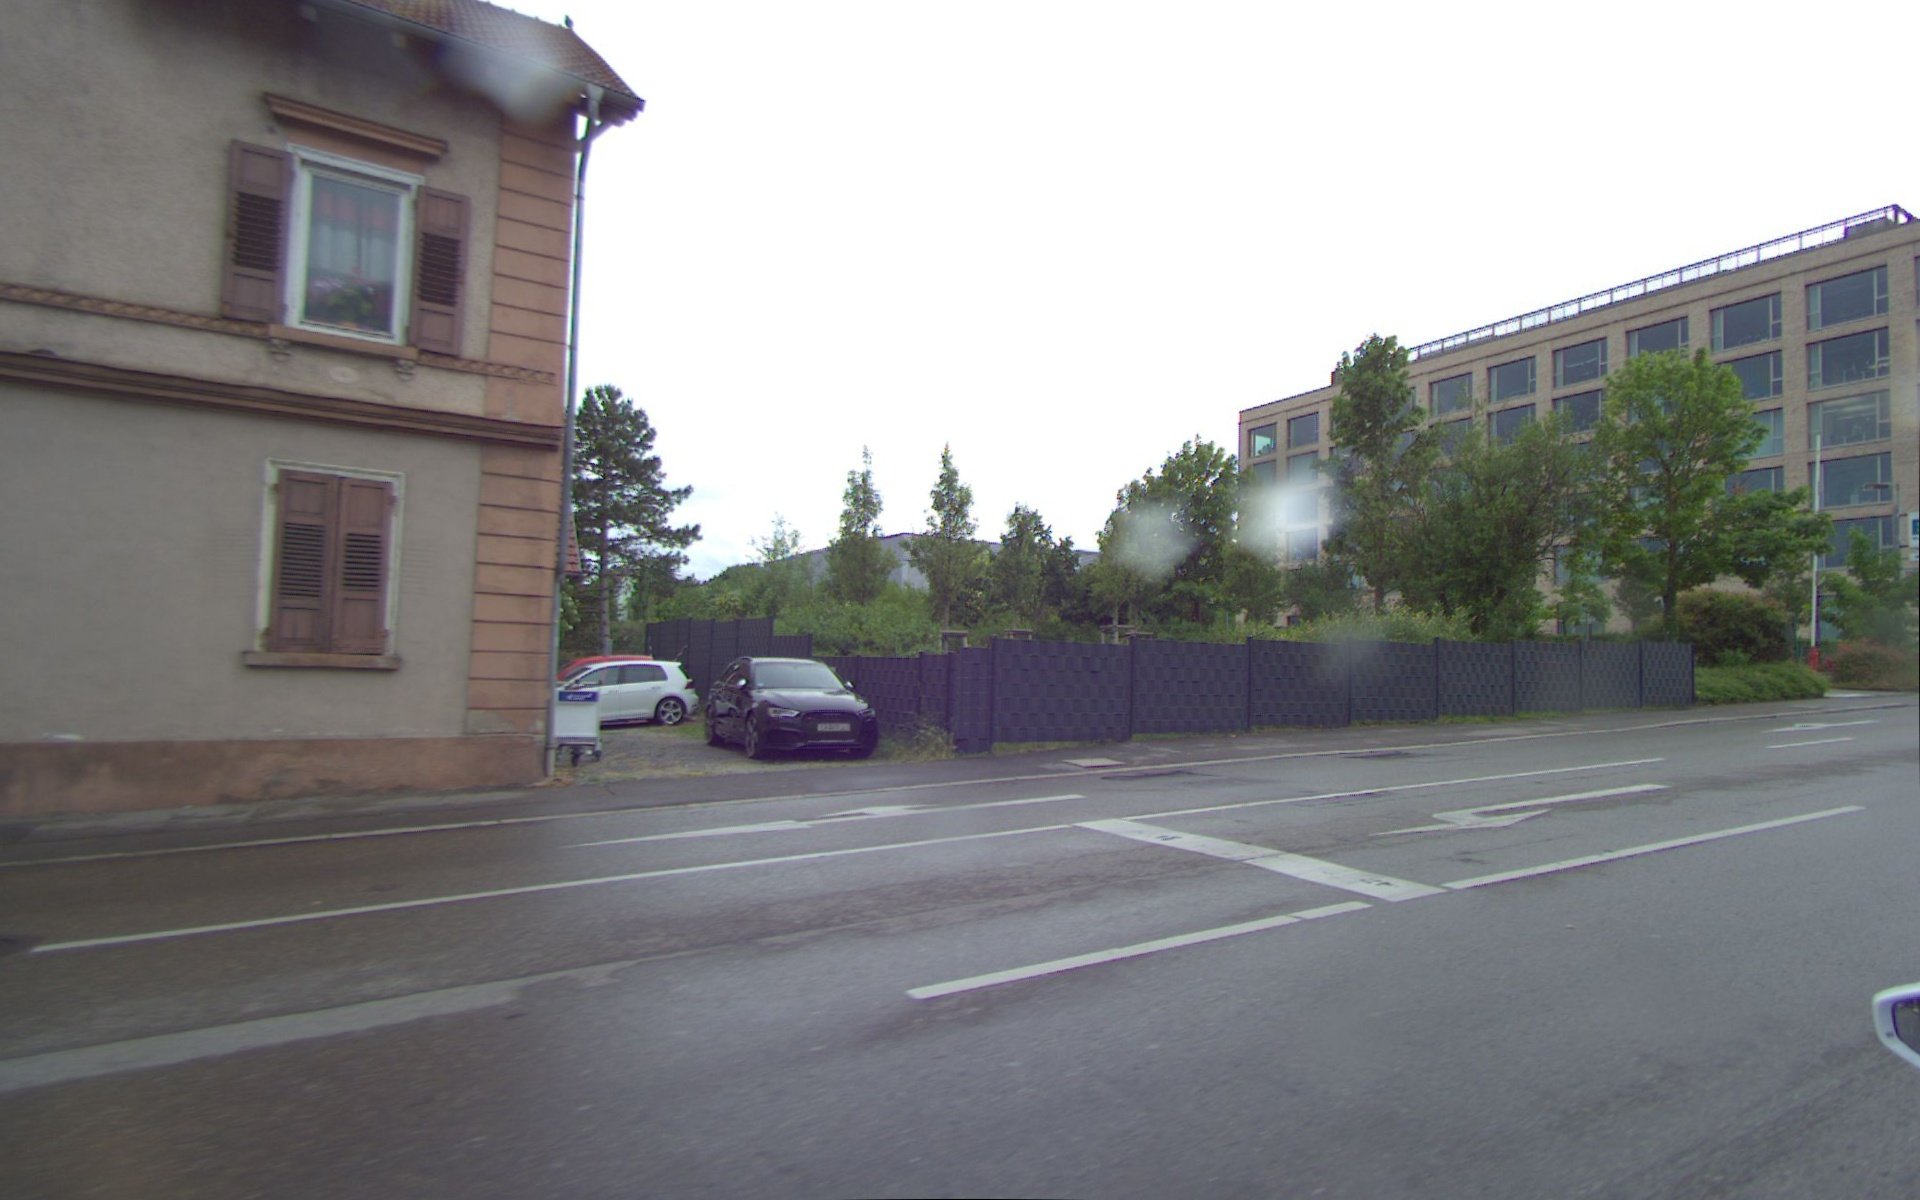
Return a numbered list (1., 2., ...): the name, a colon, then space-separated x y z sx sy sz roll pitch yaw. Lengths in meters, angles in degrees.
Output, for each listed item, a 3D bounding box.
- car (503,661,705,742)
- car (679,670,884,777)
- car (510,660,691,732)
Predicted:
1. car: -7.800 2.169 22.098 3.953 1.536 1.689 1 -2 -31
2. car: -2.782 1.727 14.954 1.590 1.178 3.963 1 -2 -33
3. car: -8.774 2.285 24.622 3.953 1.536 1.634 1 -2 -31
